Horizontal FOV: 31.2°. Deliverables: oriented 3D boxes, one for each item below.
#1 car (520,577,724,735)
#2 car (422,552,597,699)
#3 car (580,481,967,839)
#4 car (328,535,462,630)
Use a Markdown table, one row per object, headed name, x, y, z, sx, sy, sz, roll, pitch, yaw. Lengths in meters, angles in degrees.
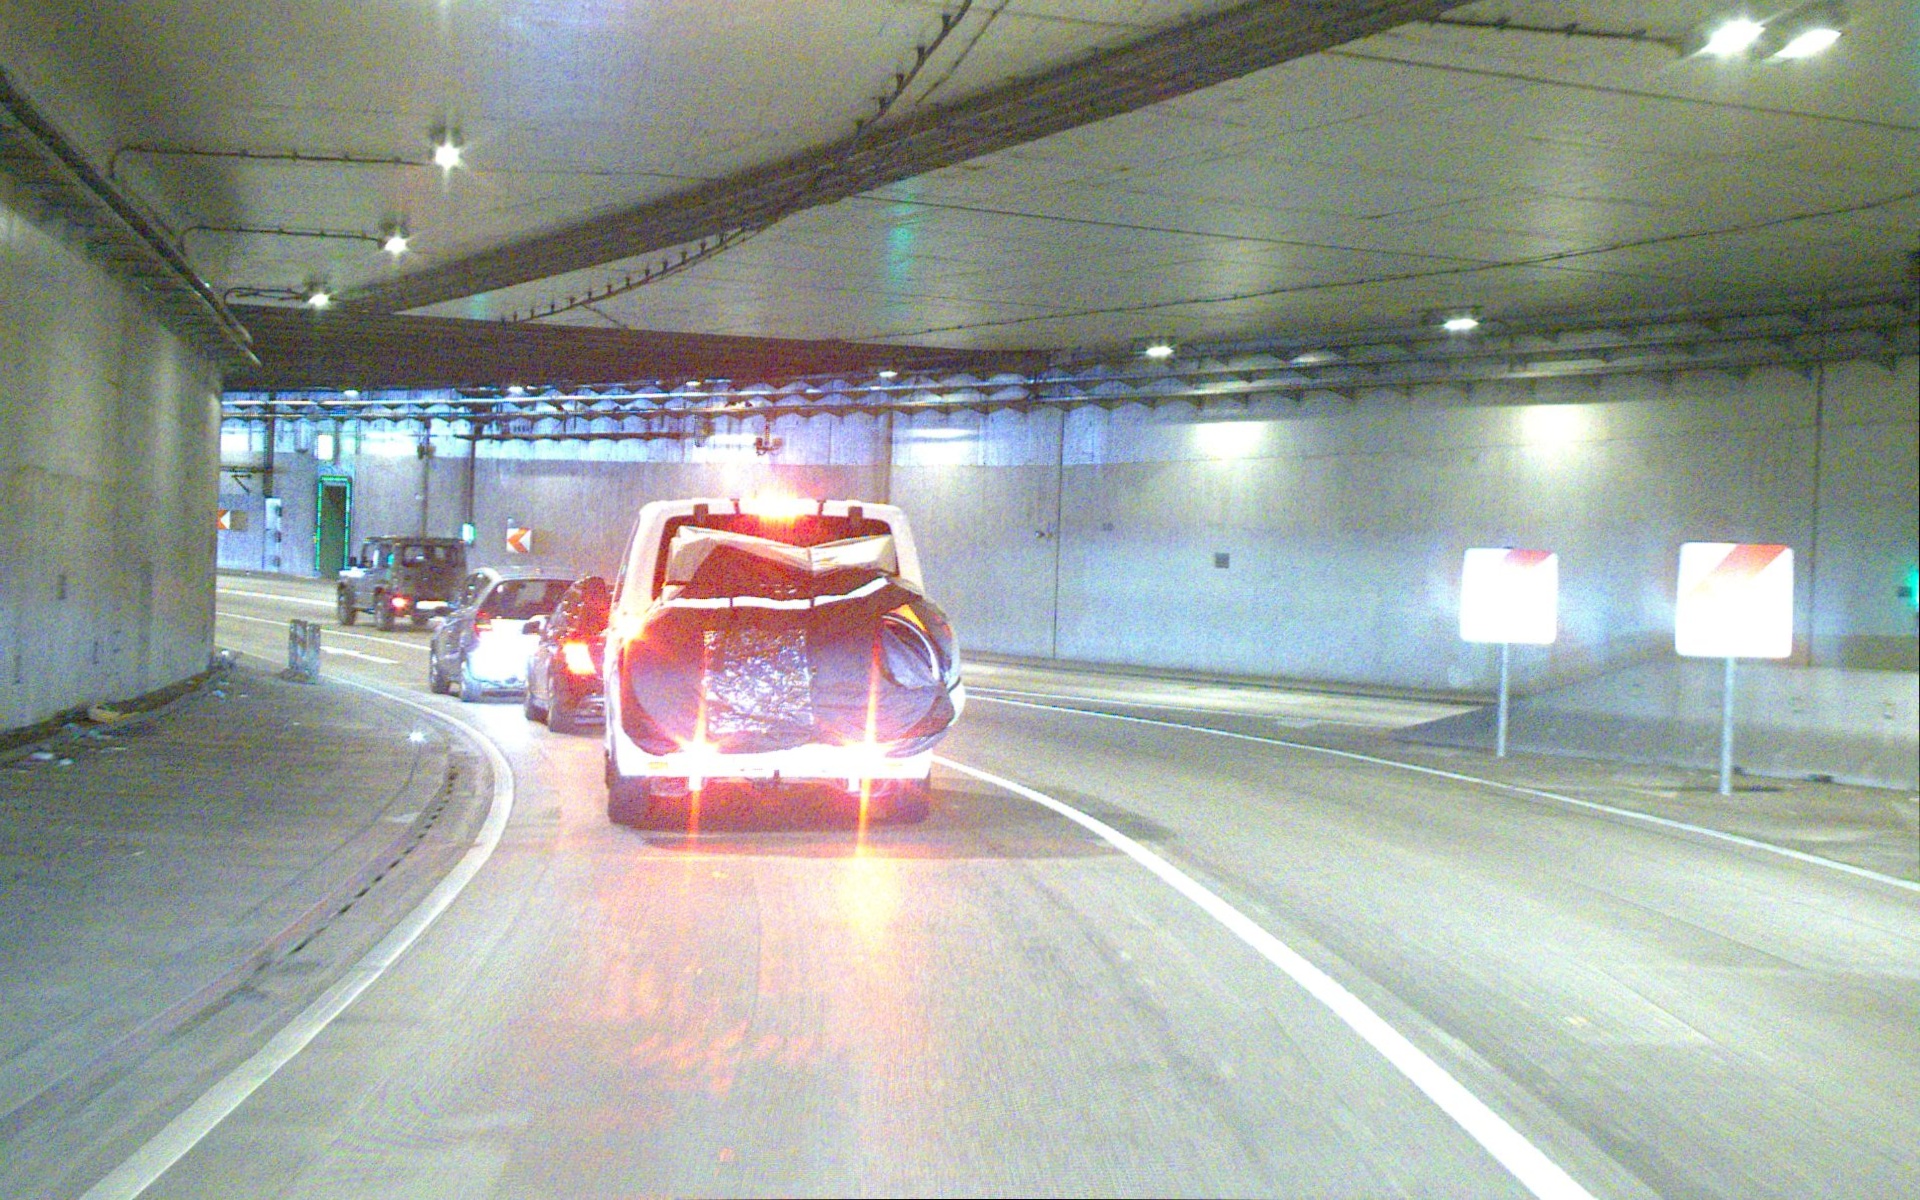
| name | x | y | z | sx | sy | sz | roll | pitch | yaw |
| --- | --- | --- | --- | --- | --- | --- | --- | --- | --- |
| car | -3.248 | 0.494 | 32.602 | 1.602 | 1.390 | 3.278 | 1 | 0 | -11 |
| car | -5.348 | 0.305 | 40.547 | 1.602 | 1.588 | 3.356 | 3 | -1 | -14 |
| car | -1.219 | 0.316 | 20.658 | 1.993 | 1.841 | 5.302 | 1 | 0 | -5 |
| car | -10.236 | -0.338 | 62.148 | 1.602 | 1.624 | 3.356 | -1 | 1 | -23 |
